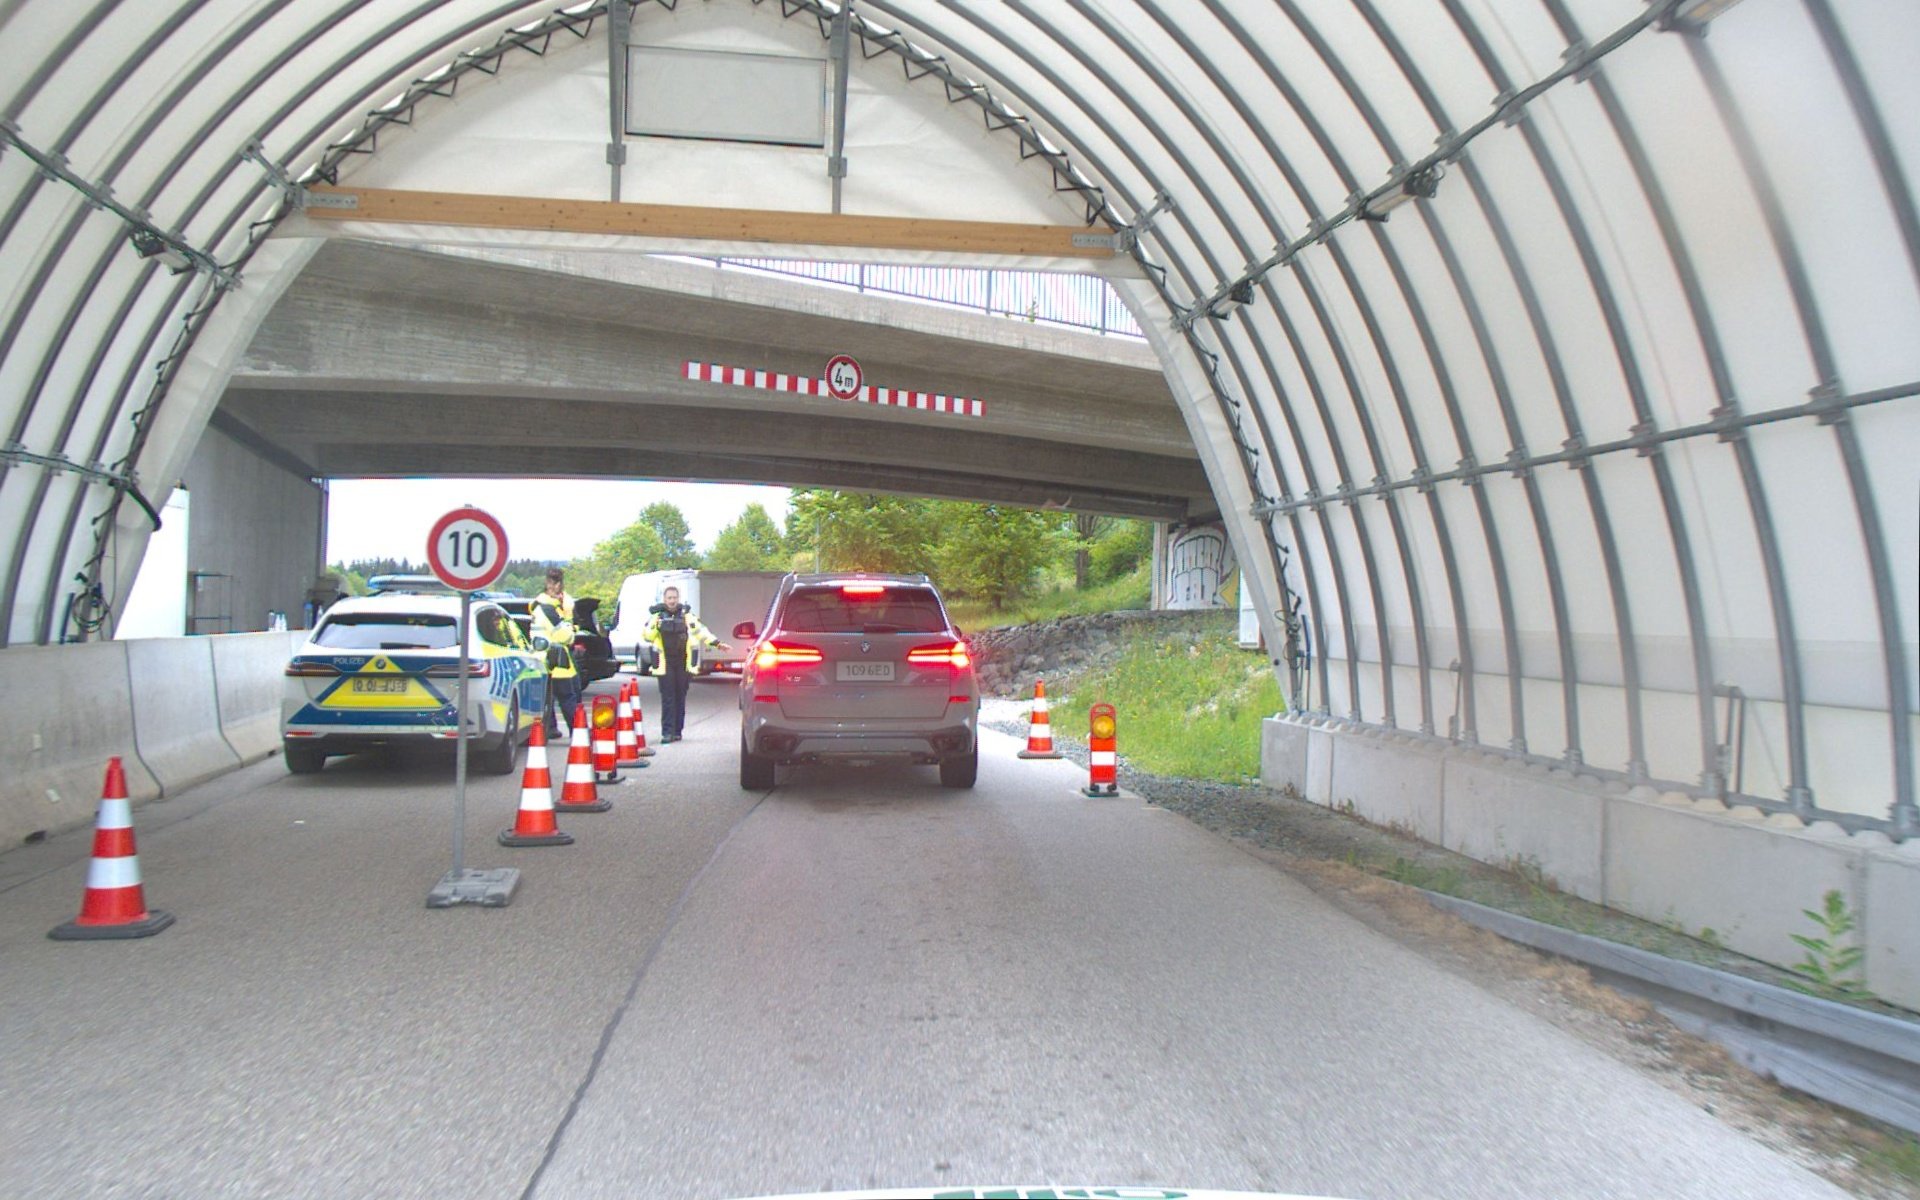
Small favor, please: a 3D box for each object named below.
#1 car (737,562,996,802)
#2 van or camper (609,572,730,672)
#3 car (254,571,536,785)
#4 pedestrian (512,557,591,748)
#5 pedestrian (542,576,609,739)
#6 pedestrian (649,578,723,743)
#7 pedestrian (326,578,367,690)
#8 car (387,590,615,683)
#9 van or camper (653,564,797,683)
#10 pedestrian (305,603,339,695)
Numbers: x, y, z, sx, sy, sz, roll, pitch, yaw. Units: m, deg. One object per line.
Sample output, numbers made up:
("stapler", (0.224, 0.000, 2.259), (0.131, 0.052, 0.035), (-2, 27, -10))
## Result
("car", (-0.878, 0.630, 14.599), (1.955, 1.796, 3.996), (-1, 0, -5))
("van or camper", (-8.030, 0.569, 45.301), (2.075, 2.563, 5.511), (0, 0, -23))
("car", (-5.010, 0.626, 15.196), (1.844, 1.675, 3.990), (-1, 0, -10))
("pedestrian", (-4.272, 0.535, 17.339), (0.735, 1.952, 0.761), (-1, -1, -11))
("pedestrian", (-4.289, 0.634, 18.476), (0.596, 1.784, 0.666), (-1, -1, -2))
("pedestrian", (-2.993, 0.646, 18.100), (0.765, 1.752, 0.755), (-1, -1, -10))
("pedestrian", (-11.359, 0.617, 30.648), (0.613, 2.049, 0.654), (0, -1, -12))
("car", (-10.507, 0.830, 37.964), (4.703, 2.049, 1.842), (0, -1, 11))
("van or camper", (-5.757, 0.537, 39.652), (2.197, 2.597, 6.573), (-1, 0, -19))
("pedestrian", (-11.057, 0.843, 28.672), (0.494, 1.573, 0.461), (0, -1, -16))
